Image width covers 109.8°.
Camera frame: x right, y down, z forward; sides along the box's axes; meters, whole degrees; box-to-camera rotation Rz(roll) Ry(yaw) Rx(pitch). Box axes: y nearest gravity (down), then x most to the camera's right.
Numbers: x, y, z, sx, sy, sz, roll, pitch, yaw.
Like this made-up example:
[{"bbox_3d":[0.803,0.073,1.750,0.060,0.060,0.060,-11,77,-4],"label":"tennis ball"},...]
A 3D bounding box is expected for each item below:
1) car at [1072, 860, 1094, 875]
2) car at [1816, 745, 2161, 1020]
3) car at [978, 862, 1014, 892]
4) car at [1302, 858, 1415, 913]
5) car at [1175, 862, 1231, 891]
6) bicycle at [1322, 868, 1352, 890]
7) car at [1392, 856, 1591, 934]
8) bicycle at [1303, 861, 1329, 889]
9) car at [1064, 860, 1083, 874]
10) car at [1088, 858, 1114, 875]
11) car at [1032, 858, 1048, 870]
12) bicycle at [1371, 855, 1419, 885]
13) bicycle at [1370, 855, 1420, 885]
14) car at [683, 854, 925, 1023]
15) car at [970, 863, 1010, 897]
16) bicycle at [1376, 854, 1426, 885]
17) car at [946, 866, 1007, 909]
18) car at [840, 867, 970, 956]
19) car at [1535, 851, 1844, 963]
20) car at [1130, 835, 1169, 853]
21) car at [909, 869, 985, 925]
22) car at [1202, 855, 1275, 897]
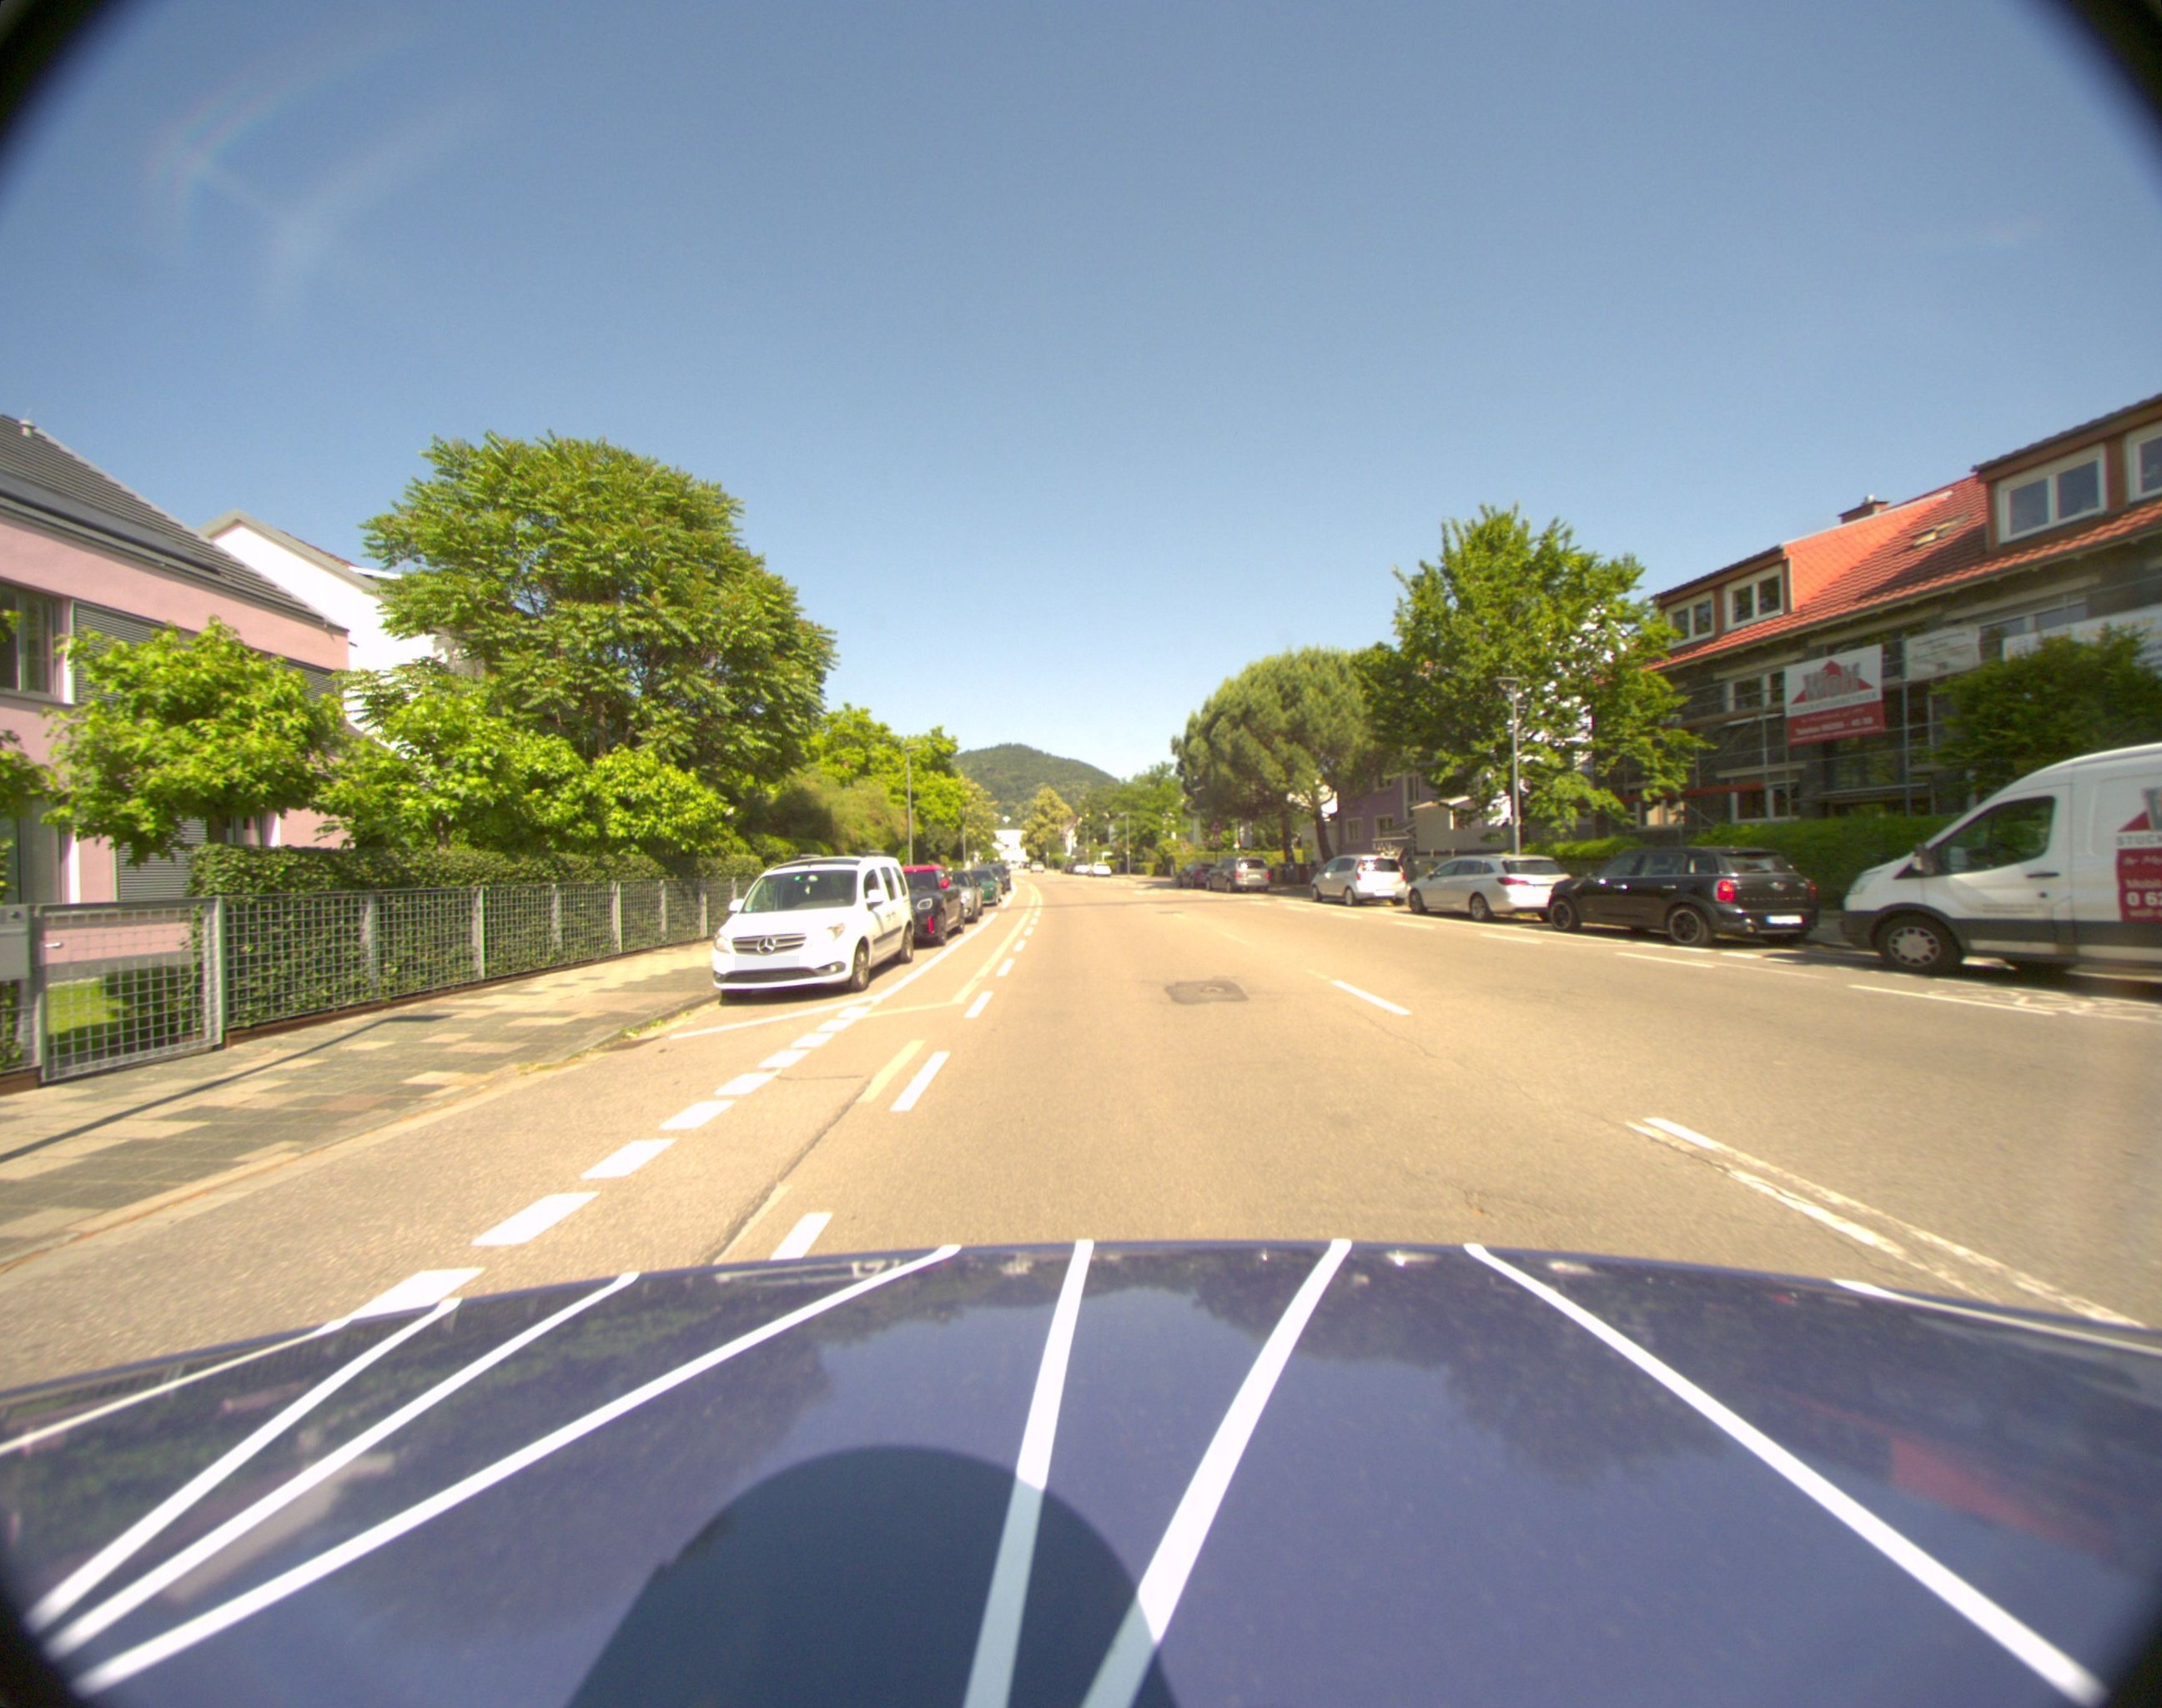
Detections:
[{"bbox_3d":[0.182,1.471,85.914,2.000,1.608,3.998,-1,0,-6],"label":"car"},{"bbox_3d":[10.809,0.245,6.840,2.096,2.481,5.948,0,-1,-9],"label":"car"},{"bbox_3d":[-5.066,1.352,45.722,1.817,1.549,4.599,-4,-1,-4],"label":"car"},{"bbox_3d":[8.543,0.935,23.772,1.725,1.549,3.998,-1,-1,-6],"label":"car"},{"bbox_3d":[6.353,1.158,40.034,1.847,1.448,4.191,0,-1,-7],"label":"car"},{"bbox_3d":[11.494,1.097,34.157,0.459,0.948,1.913,-2,0,-7],"label":"bicycle"},{"bbox_3d":[9.253,0.862,17.662,1.725,1.549,4.670,-1,-1,-6],"label":"car"},{"bbox_3d":[11.140,0.968,36.007,0.459,1.259,1.913,-2,0,-5],"label":"bicycle"},{"bbox_3d":[-1.024,1.656,96.278,2.000,1.674,3.998,-1,0,-6],"label":"car"},{"bbox_3d":[1.945,1.235,74.520,1.959,1.543,3.998,-1,0,-6],"label":"car"},{"bbox_3d":[-6.375,1.594,117.259,2.006,1.803,4.762,0,-1,-7],"label":"car"},{"bbox_3d":[14.762,0.759,35.722,2.179,1.375,0.503,0,0,-10],"label":"bicycle"},{"bbox_3d":[14.503,0.737,35.132,2.179,1.375,0.503,0,0,-10],"label":"bicycle"},{"bbox_3d":[-3.653,0.971,11.039,1.767,1.816,4.597,-4,0,-1],"label":"car"},{"bbox_3d":[-4.804,1.337,40.462,1.817,1.550,3.915,-6,0,-4],"label":"car"},{"bbox_3d":[14.571,0.720,34.584,2.179,1.375,0.503,0,0,-10],"label":"bicycle"},{"bbox_3d":[-4.042,1.255,30.113,1.817,1.454,4.787,-4,-1,-2],"label":"car"},{"bbox_3d":[-3.539,1.095,16.084,1.767,1.584,4.313,-1,-1,-1],"label":"car"},{"bbox_3d":[9.831,0.777,12.758,1.725,1.549,3.998,-1,-1,-6],"label":"car"},{"bbox_3d":[7.159,-1.035,79.758,3.996,1.805,2.001,-1,-1,3],"label":"car"},{"bbox_3d":[-3.757,1.162,21.872,1.767,1.435,4.067,-1,-1,-5],"label":"car"},{"bbox_3d":[7.080,0.968,34.618,1.847,1.754,4.583,0,-1,-7],"label":"car"}]
